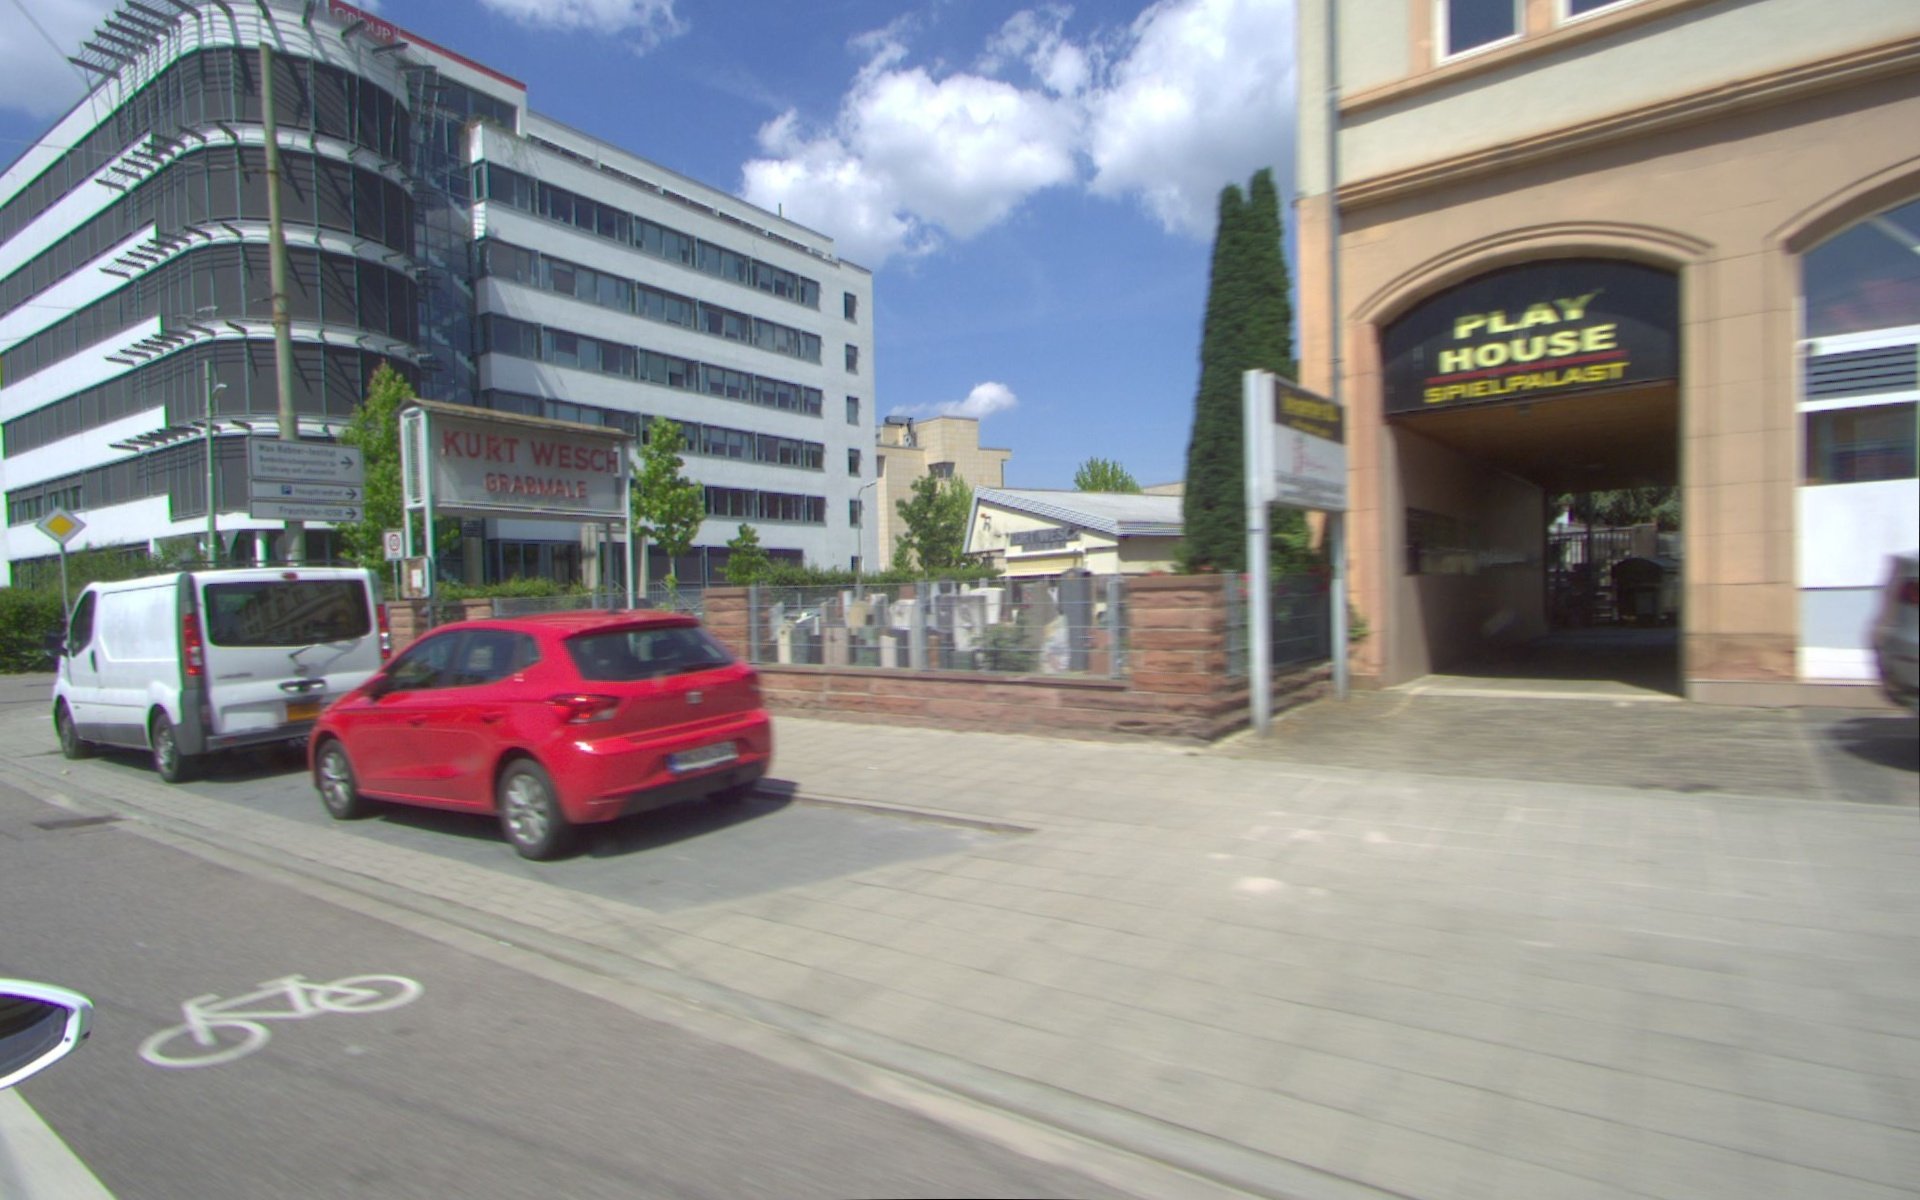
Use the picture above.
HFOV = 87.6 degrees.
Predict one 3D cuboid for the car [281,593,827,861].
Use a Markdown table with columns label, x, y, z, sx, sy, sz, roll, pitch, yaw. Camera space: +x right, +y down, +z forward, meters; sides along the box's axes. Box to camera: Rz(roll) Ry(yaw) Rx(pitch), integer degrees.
| label | x | y | z | sx | sy | sz | roll | pitch | yaw |
| --- | --- | --- | --- | --- | --- | --- | --- | --- | --- |
| car | -3.114 | 0.716 | 7.437 | 3.964 | 1.461 | 1.987 | -1 | 0 | 36 |

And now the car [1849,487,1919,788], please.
| label | x | y | z | sx | sy | sz | roll | pitch | yaw |
| --- | --- | --- | --- | --- | --- | --- | --- | --- | --- |
| car | 7.502 | 0.116 | 4.876 | 4.580 | 1.647 | 1.870 | -1 | 3 | 37 |

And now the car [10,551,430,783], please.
| label | x | y | z | sx | sy | sz | roll | pitch | yaw |
| --- | --- | --- | --- | --- | --- | --- | --- | --- | --- |
| car | -8.339 | 0.583 | 11.091 | 5.439 | 2.019 | 1.987 | -1 | 3 | 35 |

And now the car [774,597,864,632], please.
| label | x | y | z | sx | sy | sz | roll | pitch | yaw |
| --- | --- | --- | --- | --- | --- | --- | --- | --- | --- |
| car | -6.164 | 0.618 | 44.162 | 1.734 | 1.463 | 3.976 | -1 | 0 | 34 |

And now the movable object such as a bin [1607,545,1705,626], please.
| label | x | y | z | sx | sy | sz | roll | pitch | yaw |
| --- | --- | --- | --- | --- | --- | --- | --- | --- | --- |
| movable object such as a bin | 15.003 | -0.305 | 21.585 | 1.746 | 1.653 | 1.211 | -2 | 1 | -35 |

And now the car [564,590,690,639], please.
| label | x | y | z | sx | sy | sz | roll | pitch | yaw |
| --- | --- | --- | --- | --- | --- | --- | --- | --- | --- |
| car | -11.698 | 0.471 | 35.406 | 1.734 | 1.627 | 3.976 | -1 | 0 | 34 |
